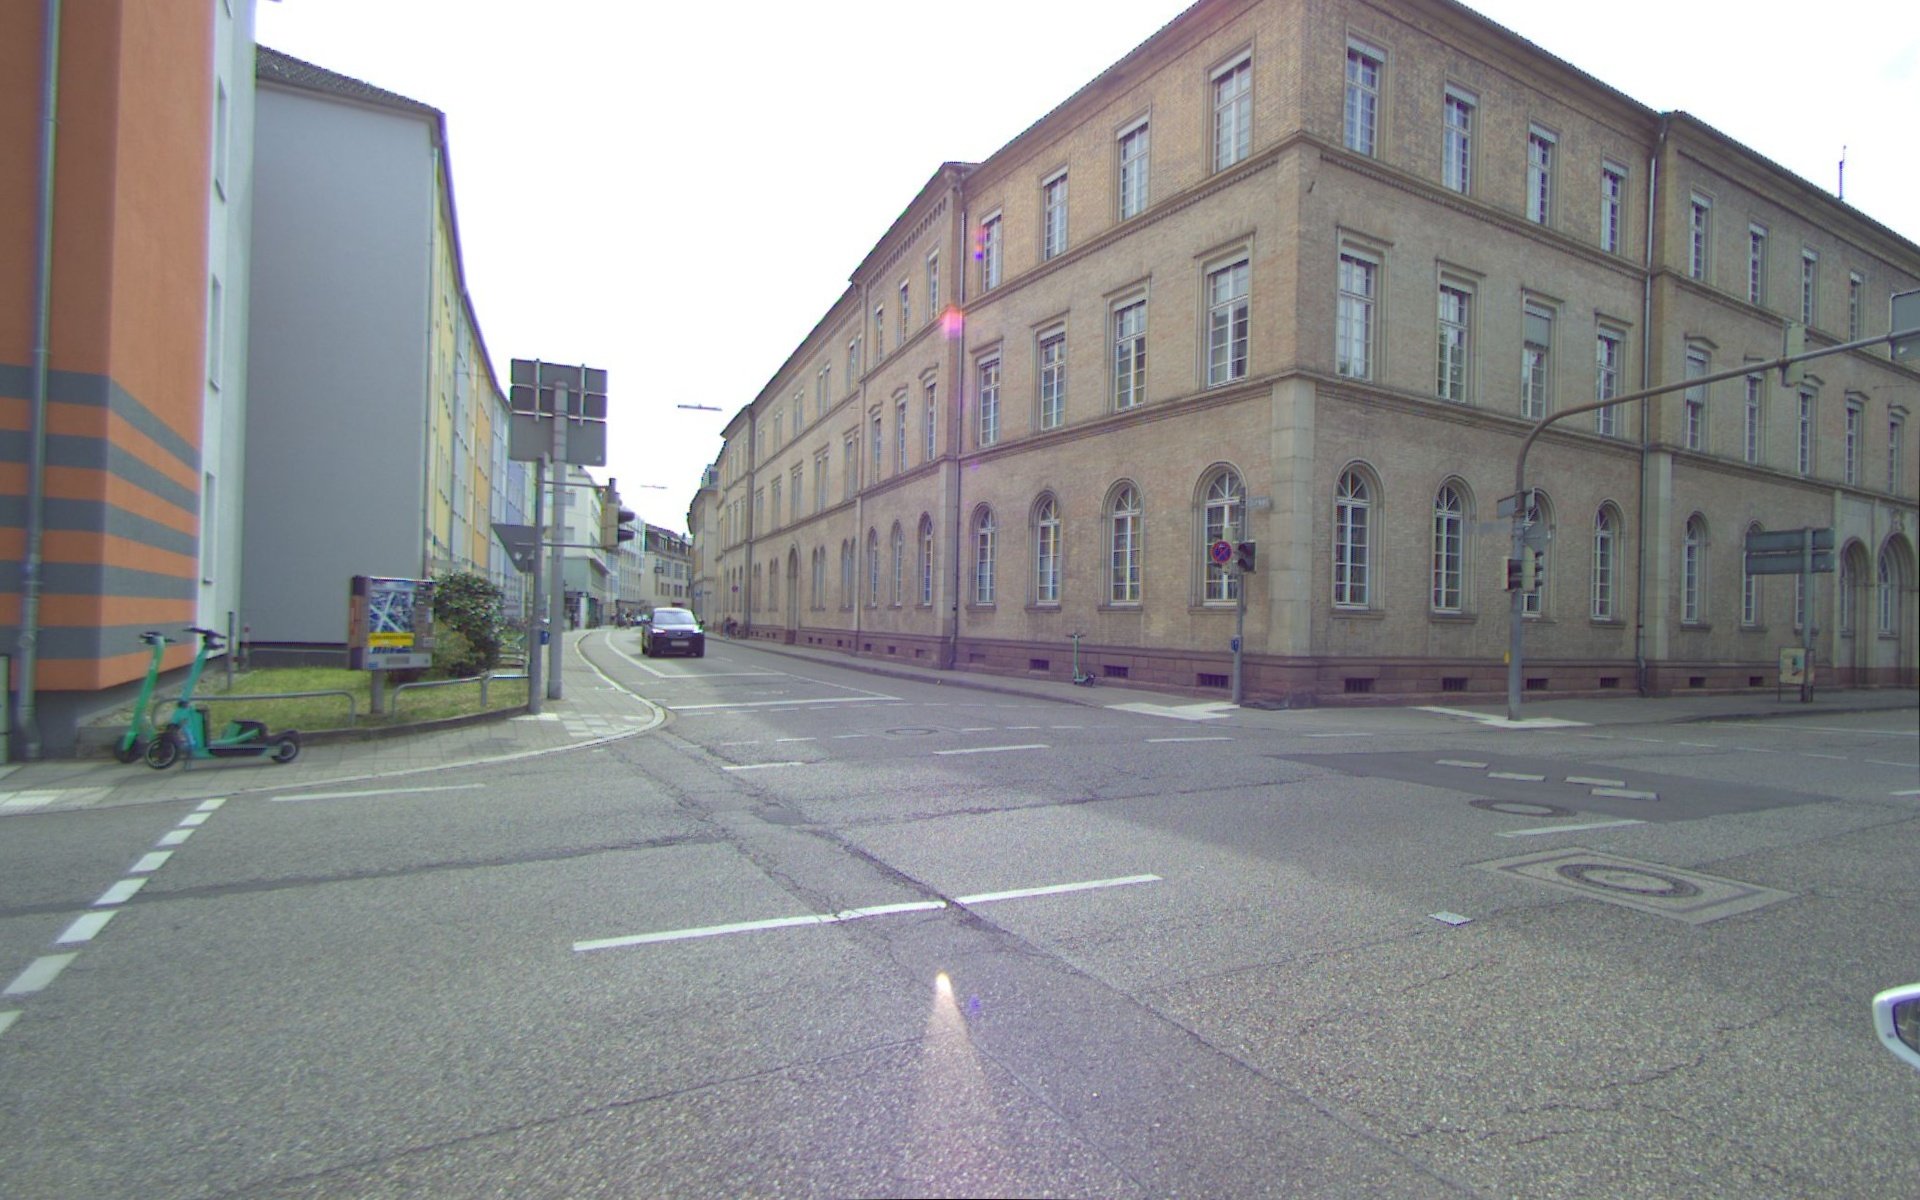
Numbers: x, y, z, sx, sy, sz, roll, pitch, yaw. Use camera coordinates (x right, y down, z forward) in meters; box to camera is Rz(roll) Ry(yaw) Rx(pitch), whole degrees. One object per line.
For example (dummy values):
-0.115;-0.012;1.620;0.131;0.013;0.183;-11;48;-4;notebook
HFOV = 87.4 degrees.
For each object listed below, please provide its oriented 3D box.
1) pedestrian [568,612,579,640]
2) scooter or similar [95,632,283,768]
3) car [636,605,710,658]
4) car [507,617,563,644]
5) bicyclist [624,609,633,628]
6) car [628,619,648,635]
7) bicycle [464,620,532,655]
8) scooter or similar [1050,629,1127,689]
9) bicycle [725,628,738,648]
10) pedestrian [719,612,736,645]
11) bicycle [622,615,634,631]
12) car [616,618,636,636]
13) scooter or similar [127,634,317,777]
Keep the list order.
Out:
-29.077;1.974;75.636;0.542;2.040;0.732;2;1;-6;pedestrian
-7.159;0.898;9.369;1.344;1.173;0.325;1;1;-44;scooter or similar
-10.010;1.065;34.856;1.873;1.621;3.976;2;1;-24;car
-34.102;2.428;80.602;3.949;2.040;1.986;2;1;-28;car
-29.665;1.661;89.864;0.679;1.634;1.139;2;1;-24;bicyclist
-45.462;3.754;141.842;1.964;2.040;3.993;2;1;-10;car
-14.022;1.141;30.496;1.842;1.025;0.558;2;1;-27;bicycle
2.846;1.291;22.517;0.552;1.180;2.362;2;1;-23;scooter or similar
-14.202;2.336;62.456;0.560;1.085;2.257;2;1;-18;bicycle
-14.431;1.754;62.379;0.868;1.962;0.797;2;1;-19;pedestrian
-29.691;2.044;89.886;0.679;1.235;2.840;2;1;-24;bicycle
-41.674;3.330;125.309;1.966;2.040;3.989;2;1;-14;car
-6.642;0.912;9.081;1.334;1.194;0.325;1;1;-44;scooter or similar
